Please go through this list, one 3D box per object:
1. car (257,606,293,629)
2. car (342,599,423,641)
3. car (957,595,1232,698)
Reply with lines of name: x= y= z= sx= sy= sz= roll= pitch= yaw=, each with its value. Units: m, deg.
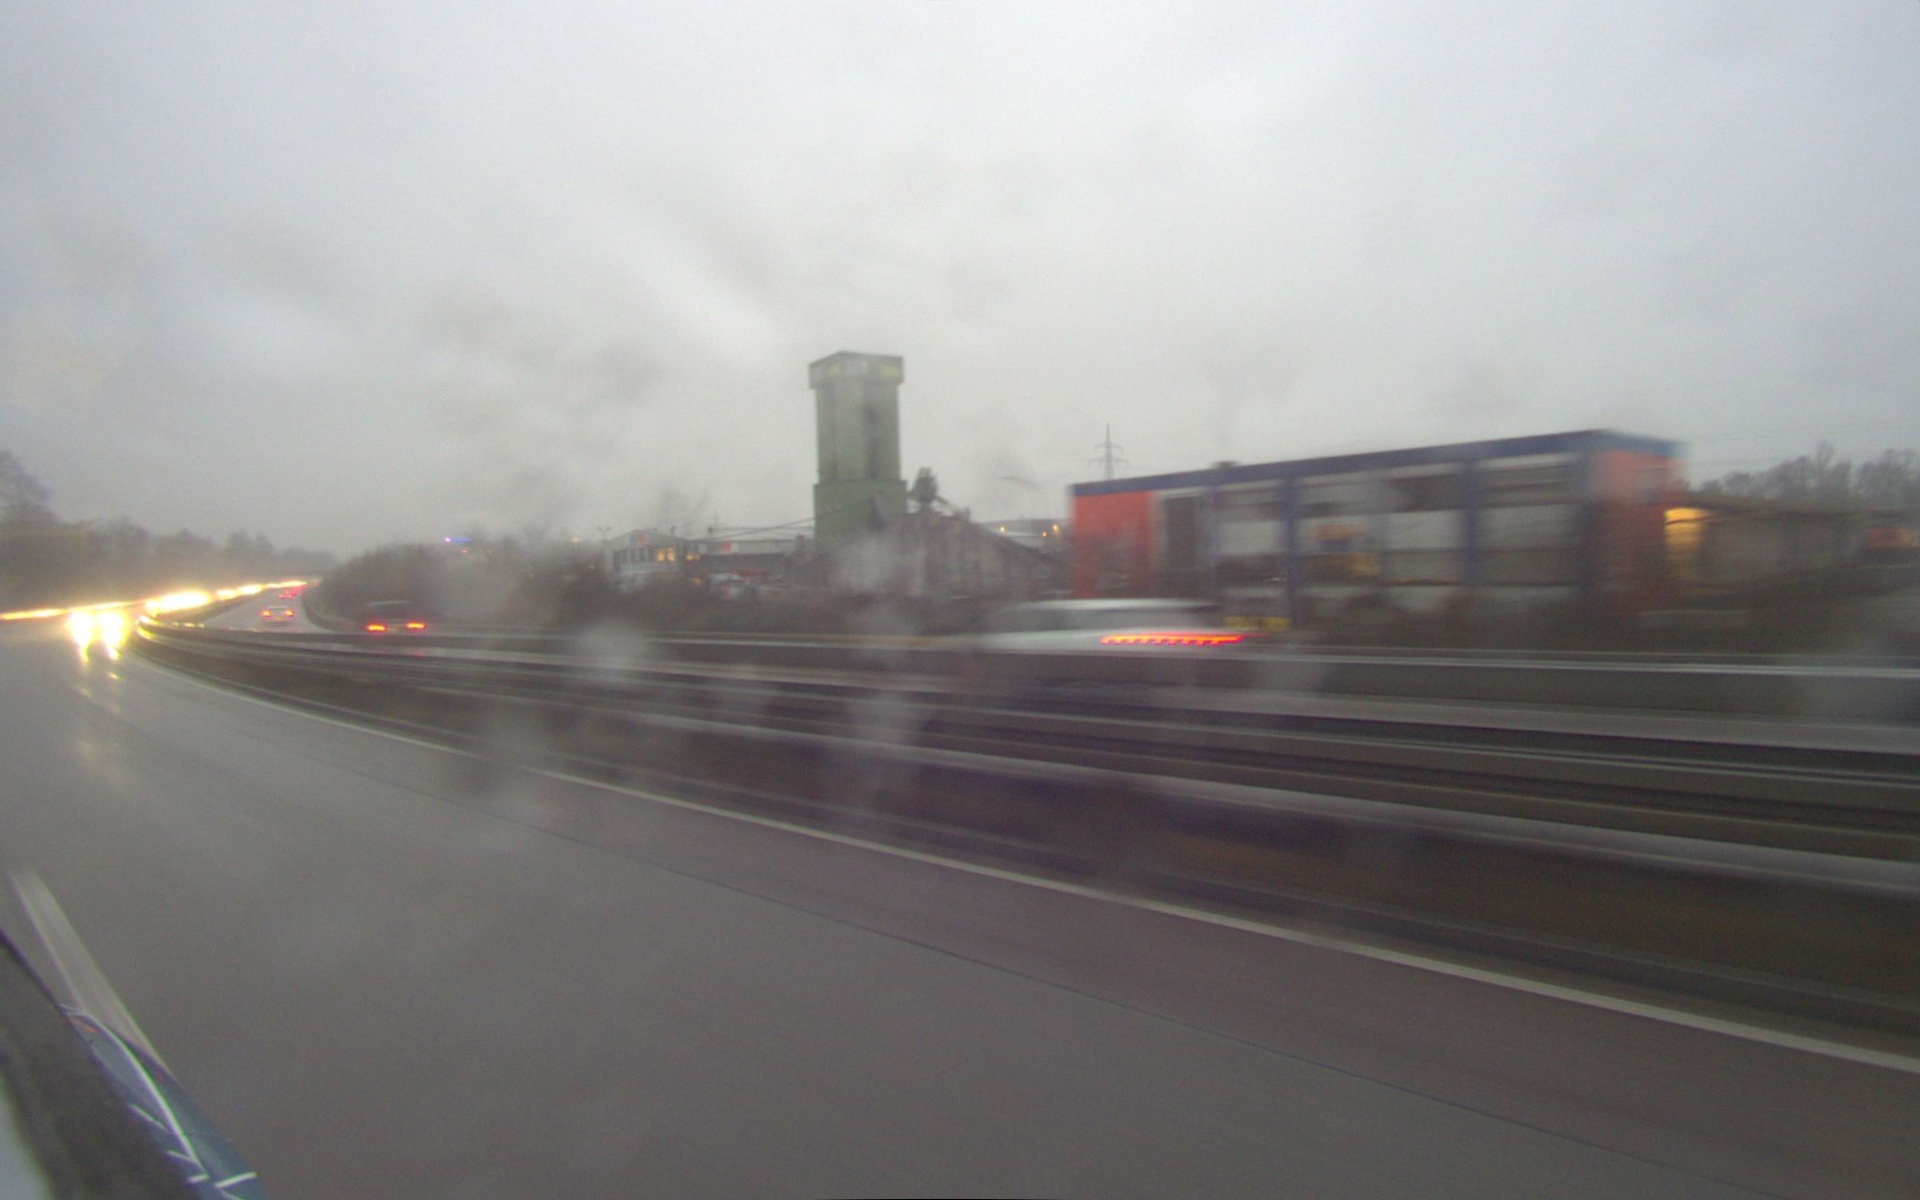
car: x=-52.251 y=1.309 z=77.190 sx=1.771 sy=1.696 sz=4.696 roll=0 pitch=0 yaw=-40
car: x=-24.276 y=0.824 z=42.482 sx=1.970 sy=1.685 sz=4.432 roll=-1 pitch=0 yaw=-43
car: x=2.050 y=0.678 z=16.084 sx=4.077 sy=1.431 sz=1.655 roll=-1 pitch=0 yaw=39
